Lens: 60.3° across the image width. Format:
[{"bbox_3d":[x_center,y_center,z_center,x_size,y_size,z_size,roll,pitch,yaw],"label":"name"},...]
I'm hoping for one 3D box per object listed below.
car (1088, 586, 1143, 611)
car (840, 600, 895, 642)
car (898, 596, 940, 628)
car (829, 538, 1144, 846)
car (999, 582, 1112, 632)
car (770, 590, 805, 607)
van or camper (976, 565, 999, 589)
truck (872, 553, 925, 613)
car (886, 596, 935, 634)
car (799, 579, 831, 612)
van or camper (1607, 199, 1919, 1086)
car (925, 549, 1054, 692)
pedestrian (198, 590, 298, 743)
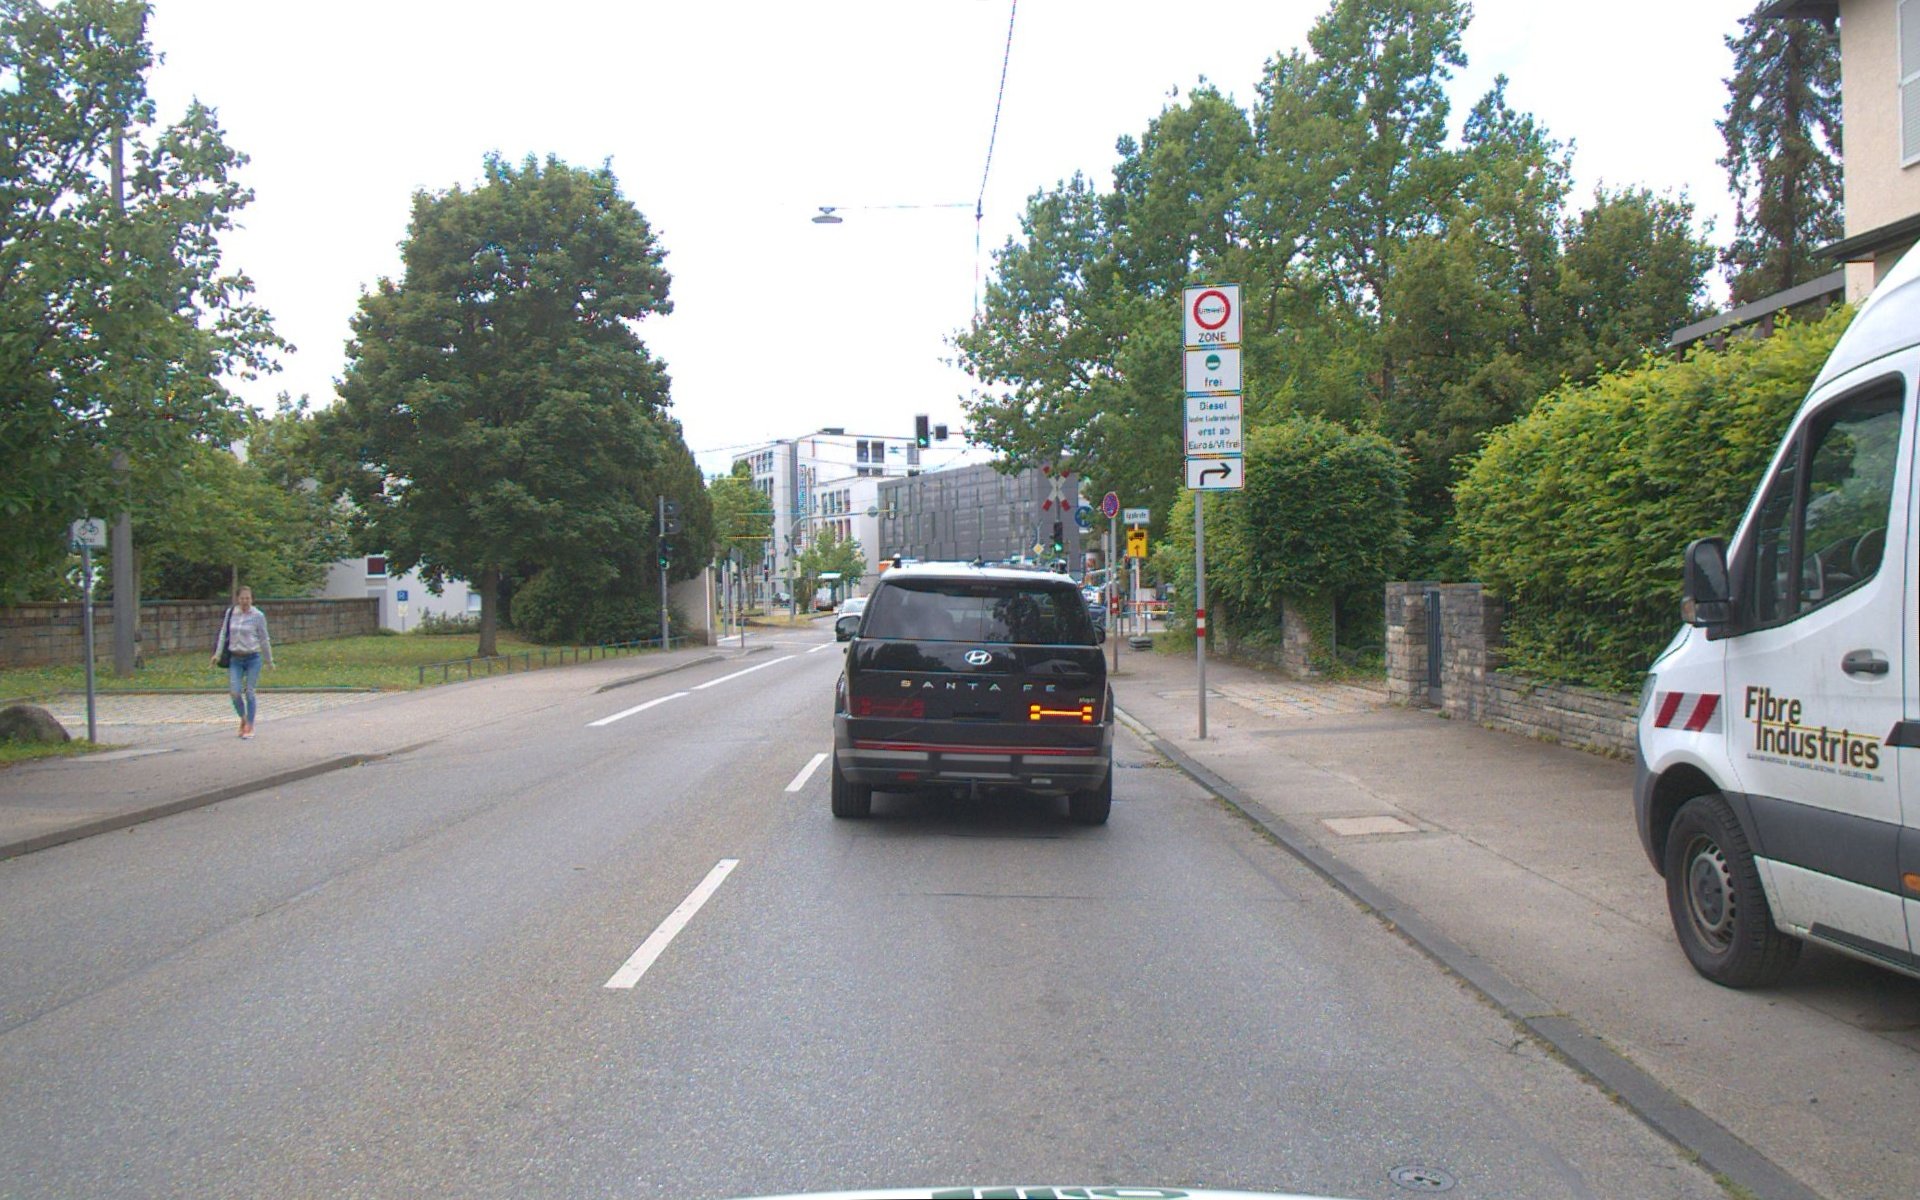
[{"bbox_3d":[10.559,-0.125,112.631,3.613,1.611,1.688,-1,0,3],"label":"car"},{"bbox_3d":[-3.425,0.738,60.740,1.847,1.445,3.995,-1,0,-6],"label":"car"},{"bbox_3d":[-2.273,0.624,90.246,1.848,1.667,3.891,-1,0,-8],"label":"car"},{"bbox_3d":[0.161,0.561,12.027,1.858,1.807,3.994,2,0,0],"label":"car"},{"bbox_3d":[3.480,0.237,59.887,1.840,1.689,4.270,-1,0,41],"label":"car"},{"bbox_3d":[-19.891,-0.198,190.737,1.976,1.870,4.541,-1,0,-36],"label":"car"},{"bbox_3d":[2.531,-2.086,150.821,1.760,2.033,3.821,2,0,-3],"label":"van or camper"},{"bbox_3d":[-4.339,-1.132,114.494,3.047,3.926,9.609,-1,0,-6],"label":"truck"},{"bbox_3d":[-2.326,0.662,76.534,1.848,1.667,3.891,-1,0,-8],"label":"car"},{"bbox_3d":[-10.723,-0.303,122.322,2.288,2.356,4.951,-1,0,-6],"label":"car"},{"bbox_3d":[3.924,0.051,3.348,2.294,2.538,6.600,-4,-1,-2],"label":"van or camper"},{"bbox_3d":[0.447,0.309,26.632,1.858,2.077,3.994,2,0,0],"label":"car"},{"bbox_3d":[-8.499,0.780,19.775,0.751,1.779,0.905,0,0,4],"label":"pedestrian"}]
